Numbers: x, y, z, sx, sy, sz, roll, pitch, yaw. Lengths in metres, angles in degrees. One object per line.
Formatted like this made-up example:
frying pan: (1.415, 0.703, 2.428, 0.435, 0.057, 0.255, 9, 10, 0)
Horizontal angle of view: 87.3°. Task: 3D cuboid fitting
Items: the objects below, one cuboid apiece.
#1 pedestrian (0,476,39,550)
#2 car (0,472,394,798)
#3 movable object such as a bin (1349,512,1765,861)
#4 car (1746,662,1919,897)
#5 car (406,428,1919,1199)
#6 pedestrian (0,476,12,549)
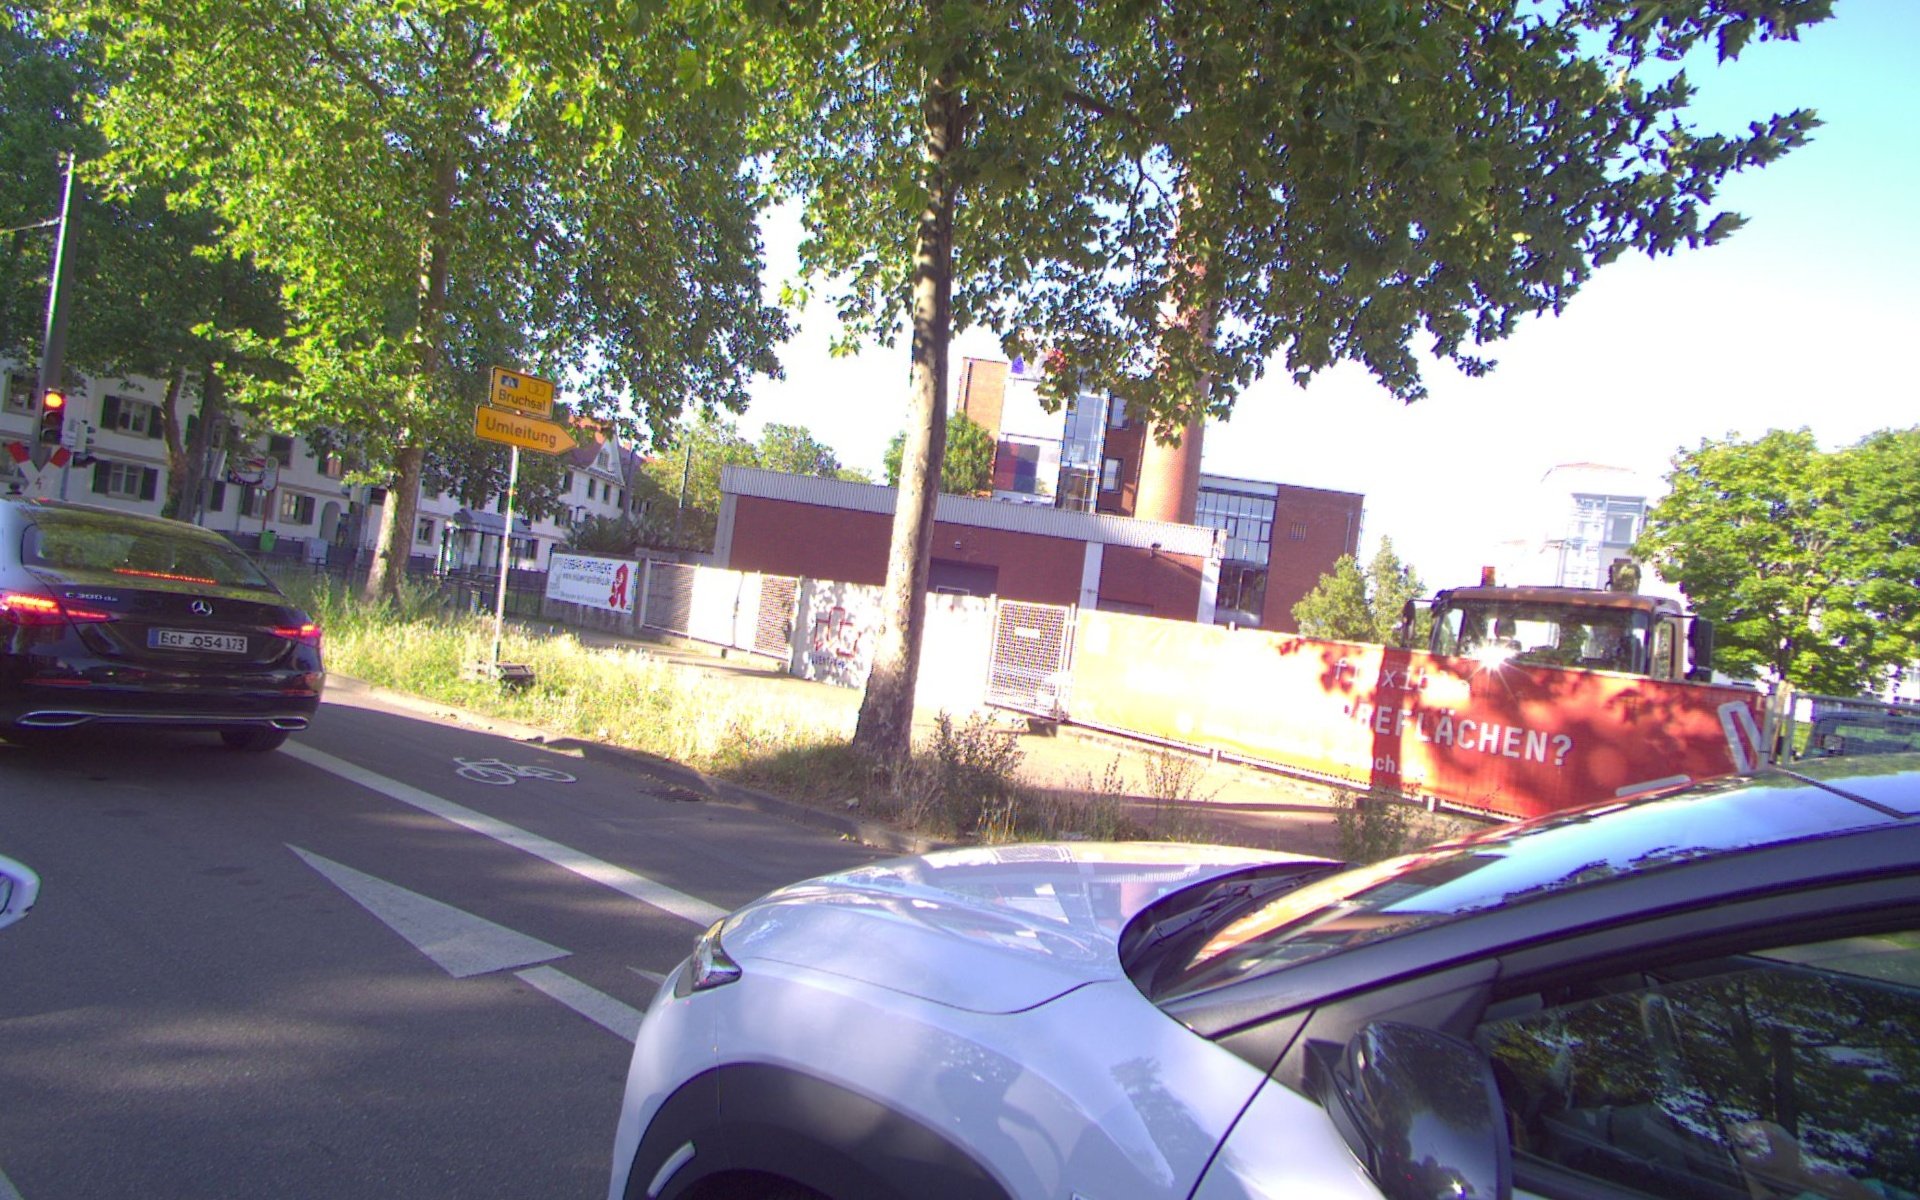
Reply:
pedestrian: (-26.520, -2.432, 28.131, 0.825, 1.940, 0.707, 7, -1, 28)
car: (-5.961, 0.011, 6.690, 4.309, 1.508, 1.893, 9, -1, 32)
movable object such as a bin: (7.645, 1.034, 12.406, 3.172, 3.084, 6.266, 6, -2, 41)
car: (9.574, 1.824, 10.148, 2.016, 1.849, 4.583, 6, -3, 44)
car: (1.268, 0.872, 1.374, 3.901, 1.616, 1.893, 9, -1, 33)
pedestrian: (-26.117, -2.396, 26.911, 0.825, 1.940, 0.707, 7, -1, 28)
